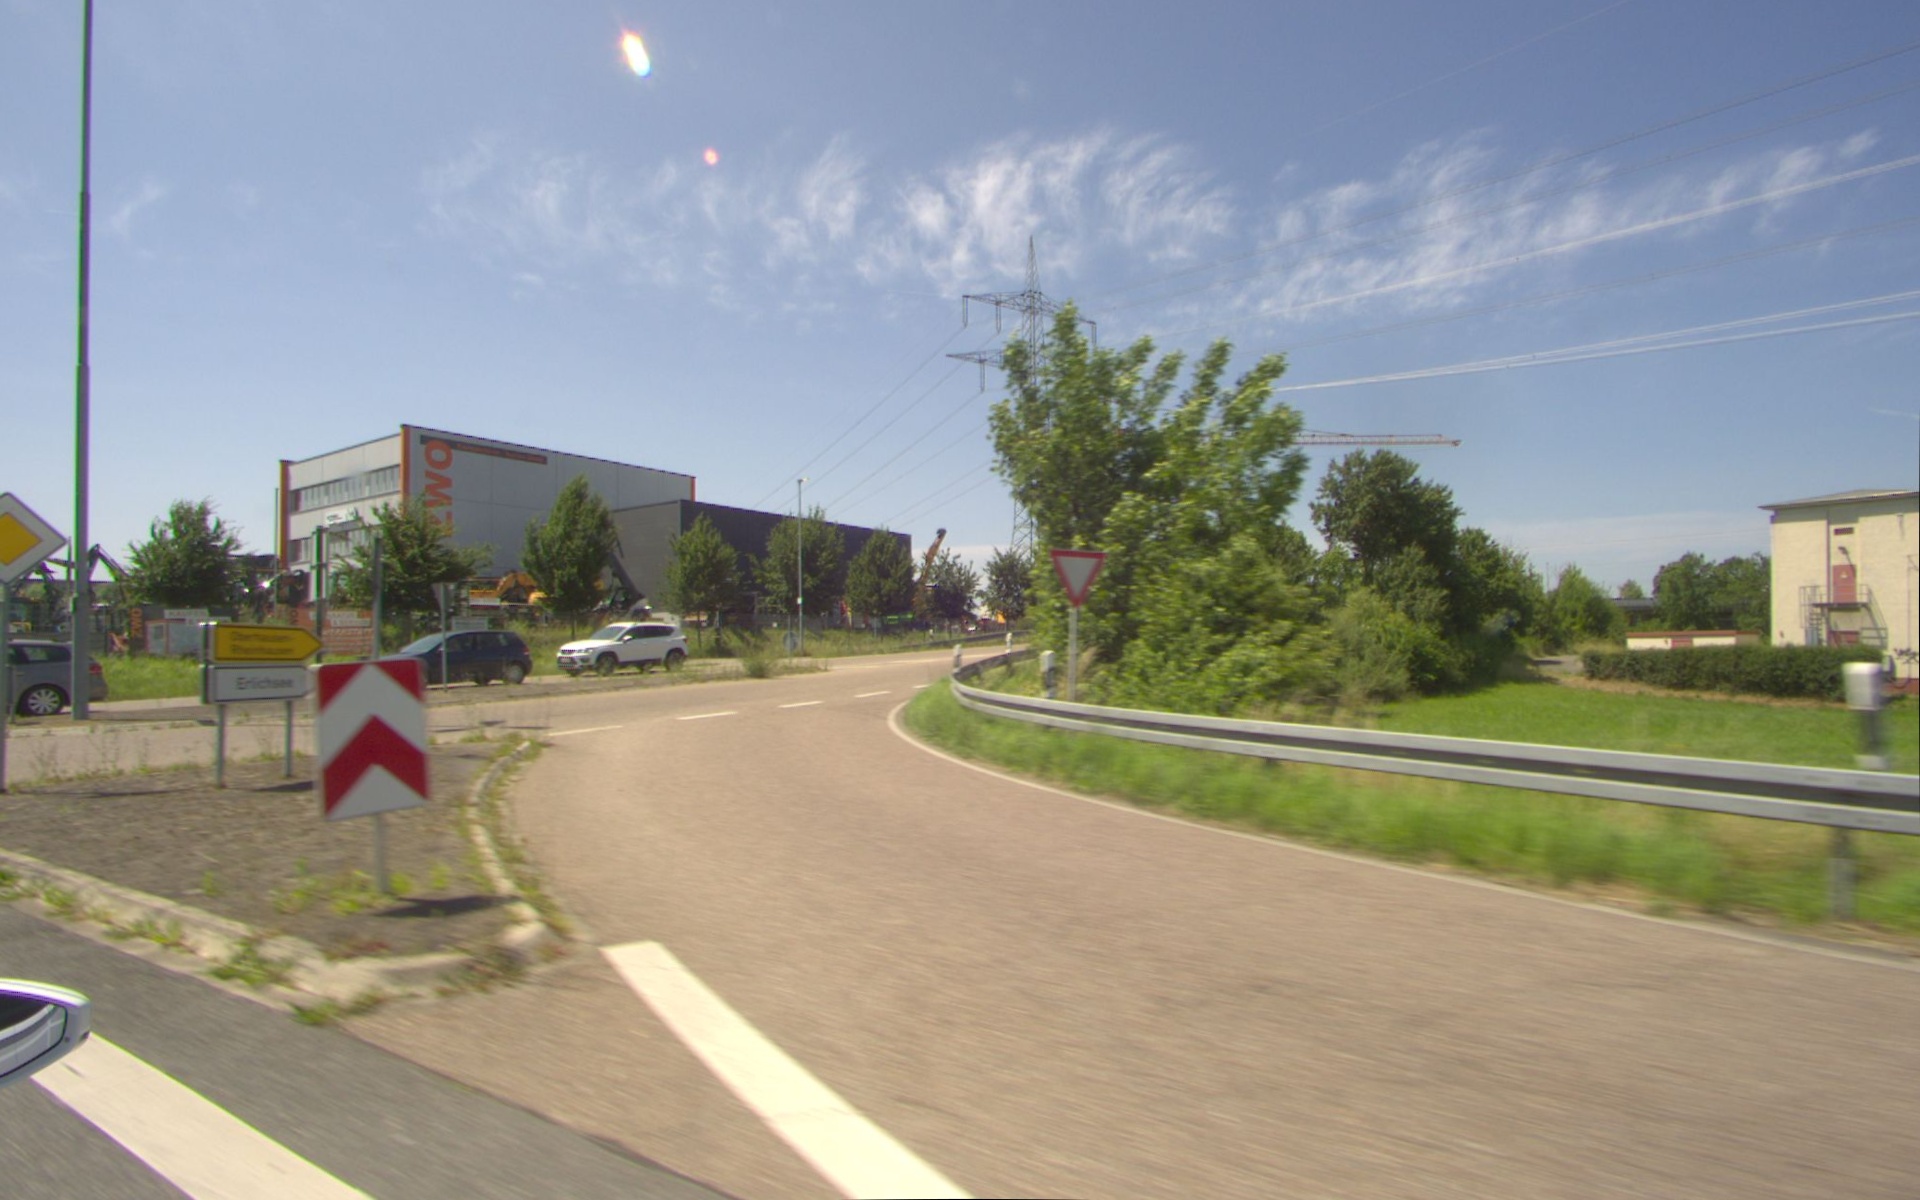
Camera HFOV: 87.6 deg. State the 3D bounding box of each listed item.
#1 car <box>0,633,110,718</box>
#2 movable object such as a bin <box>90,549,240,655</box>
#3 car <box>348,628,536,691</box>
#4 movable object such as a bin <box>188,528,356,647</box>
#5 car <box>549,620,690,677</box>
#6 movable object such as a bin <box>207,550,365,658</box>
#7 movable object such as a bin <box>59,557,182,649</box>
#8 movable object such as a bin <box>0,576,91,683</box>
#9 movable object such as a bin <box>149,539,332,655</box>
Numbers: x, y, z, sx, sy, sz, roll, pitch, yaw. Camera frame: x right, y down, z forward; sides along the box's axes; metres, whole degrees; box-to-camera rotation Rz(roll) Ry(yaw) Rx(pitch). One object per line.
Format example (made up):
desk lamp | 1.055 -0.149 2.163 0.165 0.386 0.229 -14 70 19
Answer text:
car | -18.418 1.370 17.951 1.887 1.527 4.503 -1 -2 32
movable object such as a bin | -43.774 0.272 55.311 3.180 5.331 5.705 -4 -5 35
car | -13.053 1.452 25.455 1.613 1.459 3.989 -1 -2 34
movable object such as a bin | -33.133 -0.421 48.442 3.068 5.165 5.907 -4 -5 35
car | -10.766 1.481 31.914 1.734 1.643 4.074 0 0 34
movable object such as a bin | -29.730 0.318 44.350 2.798 4.325 5.075 -4 -5 35
movable object such as a bin | -50.849 0.284 60.778 2.742 5.114 5.075 -4 -5 35
movable object such as a bin | -31.676 1.099 33.641 5.031 3.288 2.320 -4 -5 32
movable object such as a bin | -36.254 0.063 50.678 3.757 5.208 6.578 -4 -5 35
